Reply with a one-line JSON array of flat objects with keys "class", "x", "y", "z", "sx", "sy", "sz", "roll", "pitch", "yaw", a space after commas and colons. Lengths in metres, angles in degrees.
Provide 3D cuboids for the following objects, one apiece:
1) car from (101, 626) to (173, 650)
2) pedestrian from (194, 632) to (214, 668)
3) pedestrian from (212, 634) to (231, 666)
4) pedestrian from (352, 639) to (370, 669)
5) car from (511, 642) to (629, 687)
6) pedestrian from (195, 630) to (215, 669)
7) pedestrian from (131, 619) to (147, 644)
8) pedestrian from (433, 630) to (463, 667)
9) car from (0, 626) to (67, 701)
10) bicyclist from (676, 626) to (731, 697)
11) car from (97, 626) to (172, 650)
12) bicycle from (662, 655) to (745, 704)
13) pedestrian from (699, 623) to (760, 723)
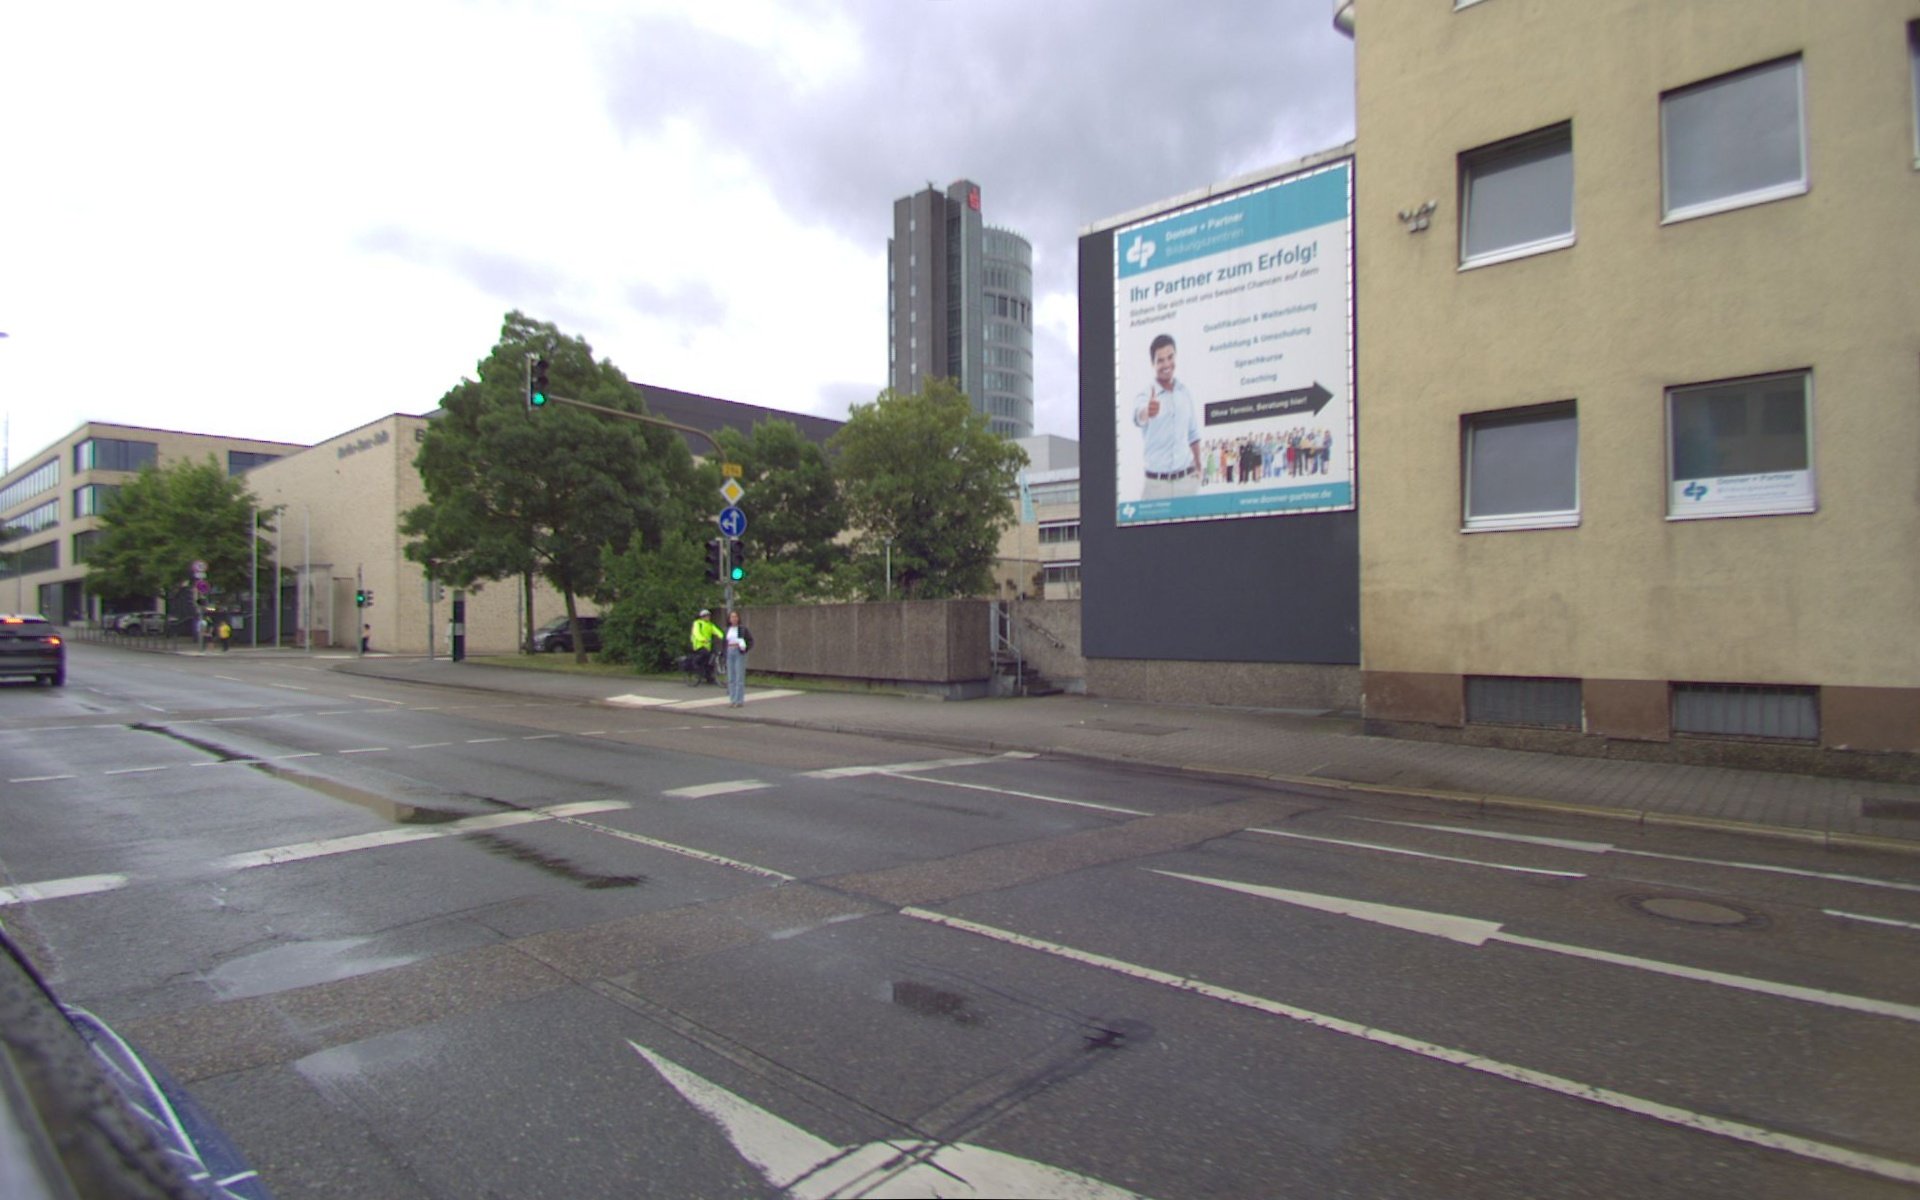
[{"class": "car", "x": -60.200, "y": 2.787, "z": 74.044, "sx": 2.001, "sy": 1.597, "sz": 3.941, "roll": -1, "pitch": 0, "yaw": 45}, {"class": "pedestrian", "x": -37.229, "y": 2.466, "z": 49.829, "sx": 0.691, "sy": 1.744, "sz": 0.588, "roll": -1, "pitch": -1, "yaw": 37}, {"class": "pedestrian", "x": -36.059, "y": 2.413, "z": 49.420, "sx": 0.691, "sy": 1.528, "sz": 0.588, "roll": -1, "pitch": -1, "yaw": 40}, {"class": "pedestrian", "x": -28.352, "y": 2.554, "z": 47.869, "sx": 0.475, "sy": 1.386, "sz": 0.614, "roll": -1, "pitch": -1, "yaw": 42}, {"class": "car", "x": -18.156, "y": 3.047, "z": 47.338, "sx": 1.998, "sy": 1.940, "sz": 4.730, "roll": -1, "pitch": -6, "yaw": 38}, {"class": "pedestrian", "x": -35.548, "y": 2.310, "z": 47.660, "sx": 0.691, "sy": 1.785, "sz": 0.588, "roll": -1, "pitch": -1, "yaw": 40}, {"class": "pedestrian", "x": -57.004, "y": 2.191, "z": 70.262, "sx": 0.792, "sy": 1.660, "sz": 0.977, "roll": -1, "pitch": -1, "yaw": -42}, {"class": "pedestrian", "x": -25.066, "y": 2.360, "z": 49.542, "sx": 0.807, "sy": 1.713, "sz": 1.099, "roll": -1, "pitch": -1, "yaw": 39}, {"class": "car", "x": -21.966, "y": 1.398, "z": 23.188, "sx": 4.294, "sy": 1.606, "sz": 1.788, "roll": -2, "pitch": -2, "yaw": 42}, {"class": "bicyclist", "x": -5.488, "y": 1.301, "z": 21.658, "sx": 0.812, "sy": 1.453, "sz": 0.833, "roll": -1, "pitch": -1, "yaw": 43}, {"class": "car", "x": -58.746, "y": 2.687, "z": 72.070, "sx": 2.001, "sy": 1.597, "sz": 3.941, "roll": -1, "pitch": 0, "yaw": 45}, {"class": "bicycle", "x": -5.519, "y": 1.690, "z": 21.719, "sx": 1.867, "sy": 0.914, "sz": 0.875, "roll": -1, "pitch": 0, "yaw": 44}, {"class": "pedestrian", "x": -4.103, "y": 1.276, "z": 18.035, "sx": 0.811, "sy": 1.702, "sz": 0.709, "roll": -1, "pitch": -1, "yaw": 43}]
